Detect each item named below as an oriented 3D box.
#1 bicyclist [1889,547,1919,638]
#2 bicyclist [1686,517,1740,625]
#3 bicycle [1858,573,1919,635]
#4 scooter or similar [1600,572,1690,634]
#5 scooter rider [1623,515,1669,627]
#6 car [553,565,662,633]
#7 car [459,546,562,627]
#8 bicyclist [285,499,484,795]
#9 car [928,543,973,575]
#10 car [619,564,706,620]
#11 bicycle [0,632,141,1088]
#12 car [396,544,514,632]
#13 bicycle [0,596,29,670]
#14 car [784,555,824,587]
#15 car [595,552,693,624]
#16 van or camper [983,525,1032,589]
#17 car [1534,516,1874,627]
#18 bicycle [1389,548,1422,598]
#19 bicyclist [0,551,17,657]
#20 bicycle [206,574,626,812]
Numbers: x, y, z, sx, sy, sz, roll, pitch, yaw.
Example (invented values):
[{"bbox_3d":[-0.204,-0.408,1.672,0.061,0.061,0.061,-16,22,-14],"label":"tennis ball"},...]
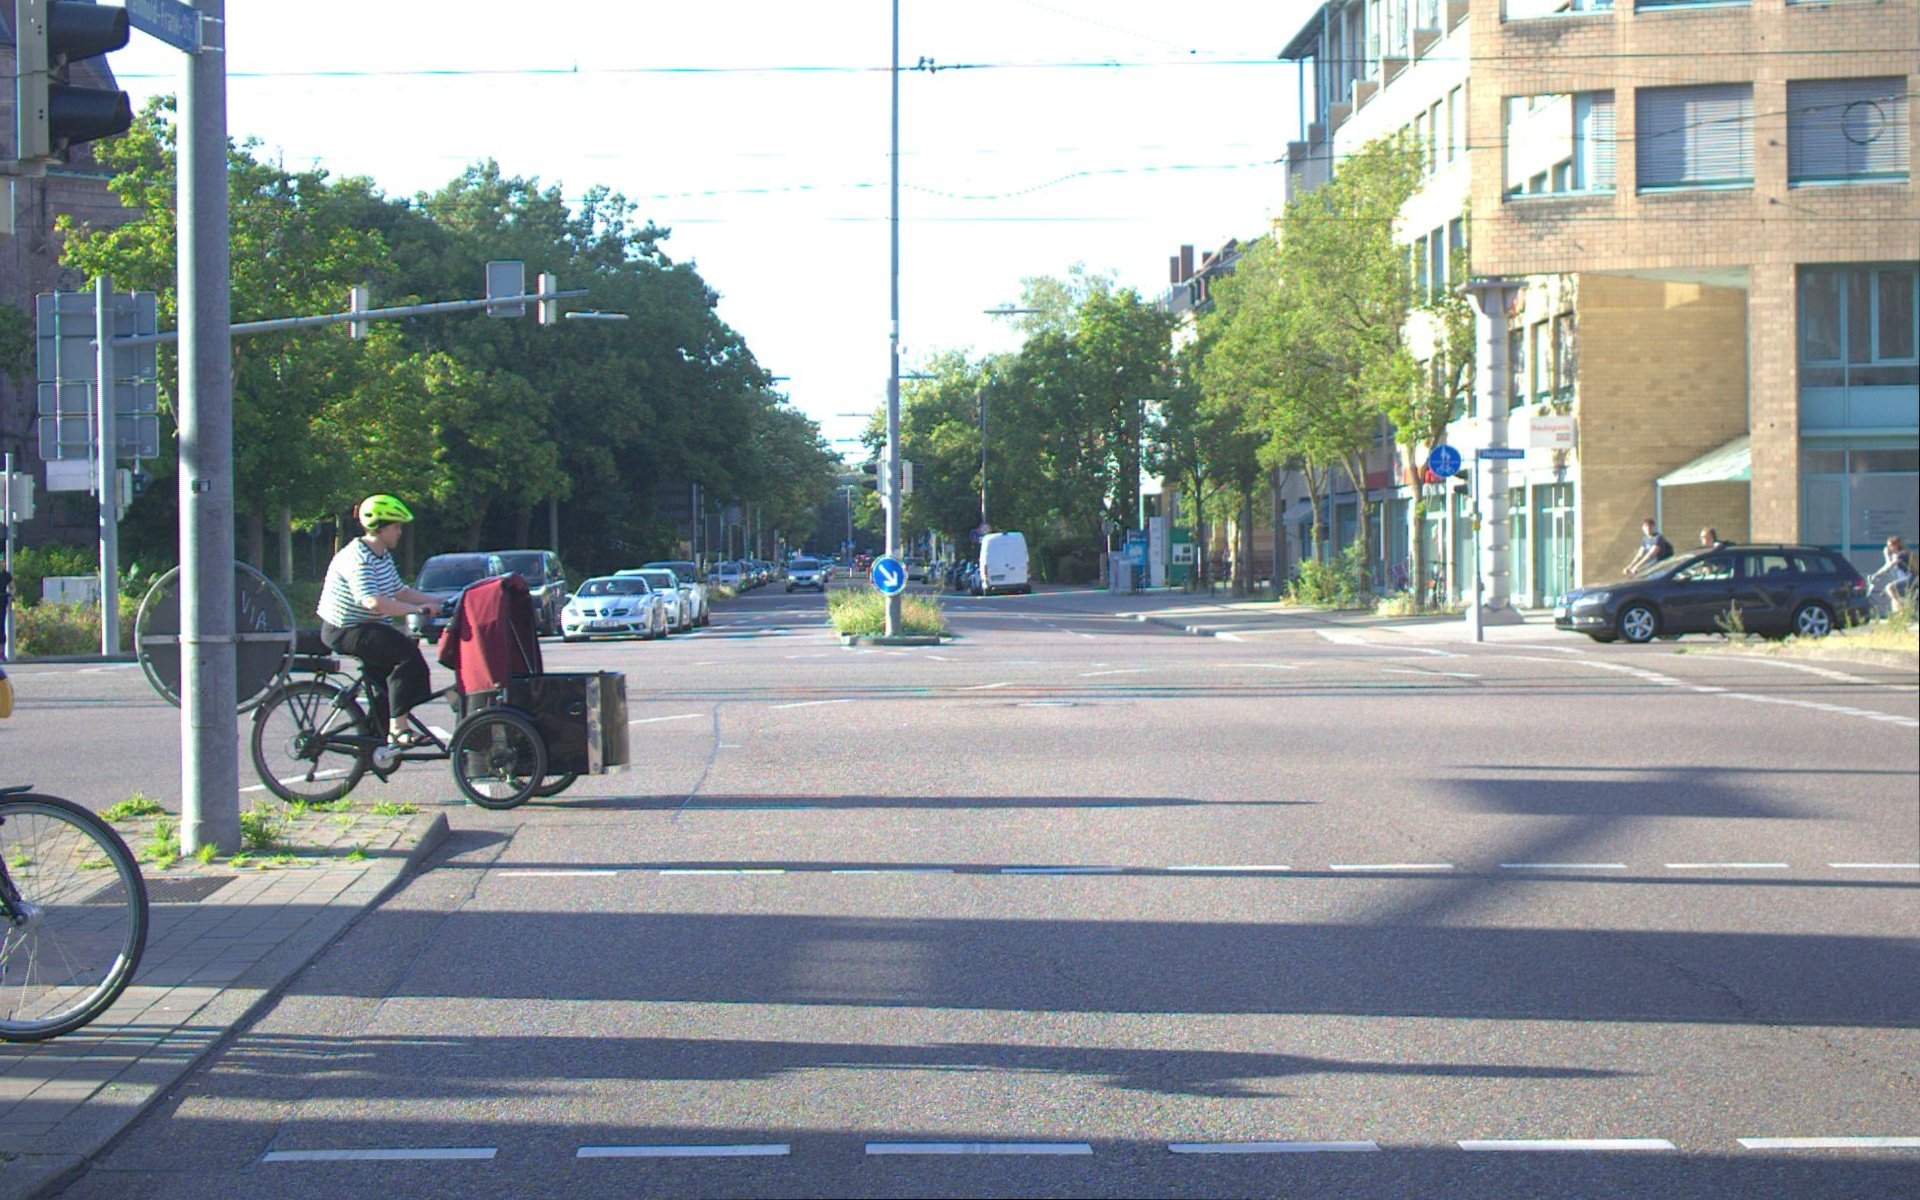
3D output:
[{"bbox_3d":[15.470,-0.130,55.759,0.666,1.464,0.533,0,1,3],"label":"bicyclist"},{"bbox_3d":[12.149,-0.470,55.449,0.790,1.730,0.475,0,1,6],"label":"bicyclist"},{"bbox_3d":[15.539,0.065,55.747,1.821,0.981,0.533,0,1,3],"label":"bicycle"},{"bbox_3d":[11.171,0.045,56.098,1.401,0.998,0.475,0,1,6],"label":"scooter or similar"},{"bbox_3d":[11.196,-0.472,56.079,0.680,1.808,0.475,0,1,5],"label":"scooter rider"},{"bbox_3d":[-6.845,-0.036,67.114,1.780,1.232,4.000,0,1,-1],"label":"car"},{"bbox_3d":[-9.780,-0.320,75.003,1.780,1.698,4.000,0,1,-1],"label":"car"},{"bbox_3d":[-2.980,0.224,17.897,0.879,1.482,1.162,-1,1,-3],"label":"bicyclist"},{"bbox_3d":[-0.510,-2.132,177.848,1.993,1.587,4.001,-1,1,-5],"label":"car"},{"bbox_3d":[-6.989,-0.195,81.114,1.780,1.232,4.000,0,1,-1],"label":"car"},{"bbox_3d":[-3.245,0.699,9.419,1.827,1.184,0.734,-1,1,-2],"label":"bicycle"},{"bbox_3d":[-9.892,-0.269,67.599,1.780,1.641,4.000,0,1,-1],"label":"car"},{"bbox_3d":[-15.486,0.515,54.772,0.645,1.135,1.679,-1,1,-38],"label":"bicycle"},{"bbox_3d":[-7.349,-1.383,161.895,1.780,1.444,4.000,0,1,-1],"label":"car"},{"bbox_3d":[-6.744,-0.281,73.689,1.780,1.459,4.000,0,1,-1],"label":"car"},{"bbox_3d":[1.993,-1.863,146.982,1.993,2.631,5.350,0,1,0],"label":"van or camper"},{"bbox_3d":[11.226,-0.446,52.041,4.646,1.592,2.000,-1,1,-4],"label":"car"},{"bbox_3d":[11.025,-0.680,85.105,0.773,1.191,2.464,0,1,6],"label":"bicycle"},{"bbox_3d":[-15.489,0.061,54.750,0.639,1.688,0.782,-1,1,-38],"label":"bicyclist"},{"bbox_3d":[-2.796,0.463,17.928,2.042,1.164,1.162,-1,1,-3],"label":"bicycle"}]
